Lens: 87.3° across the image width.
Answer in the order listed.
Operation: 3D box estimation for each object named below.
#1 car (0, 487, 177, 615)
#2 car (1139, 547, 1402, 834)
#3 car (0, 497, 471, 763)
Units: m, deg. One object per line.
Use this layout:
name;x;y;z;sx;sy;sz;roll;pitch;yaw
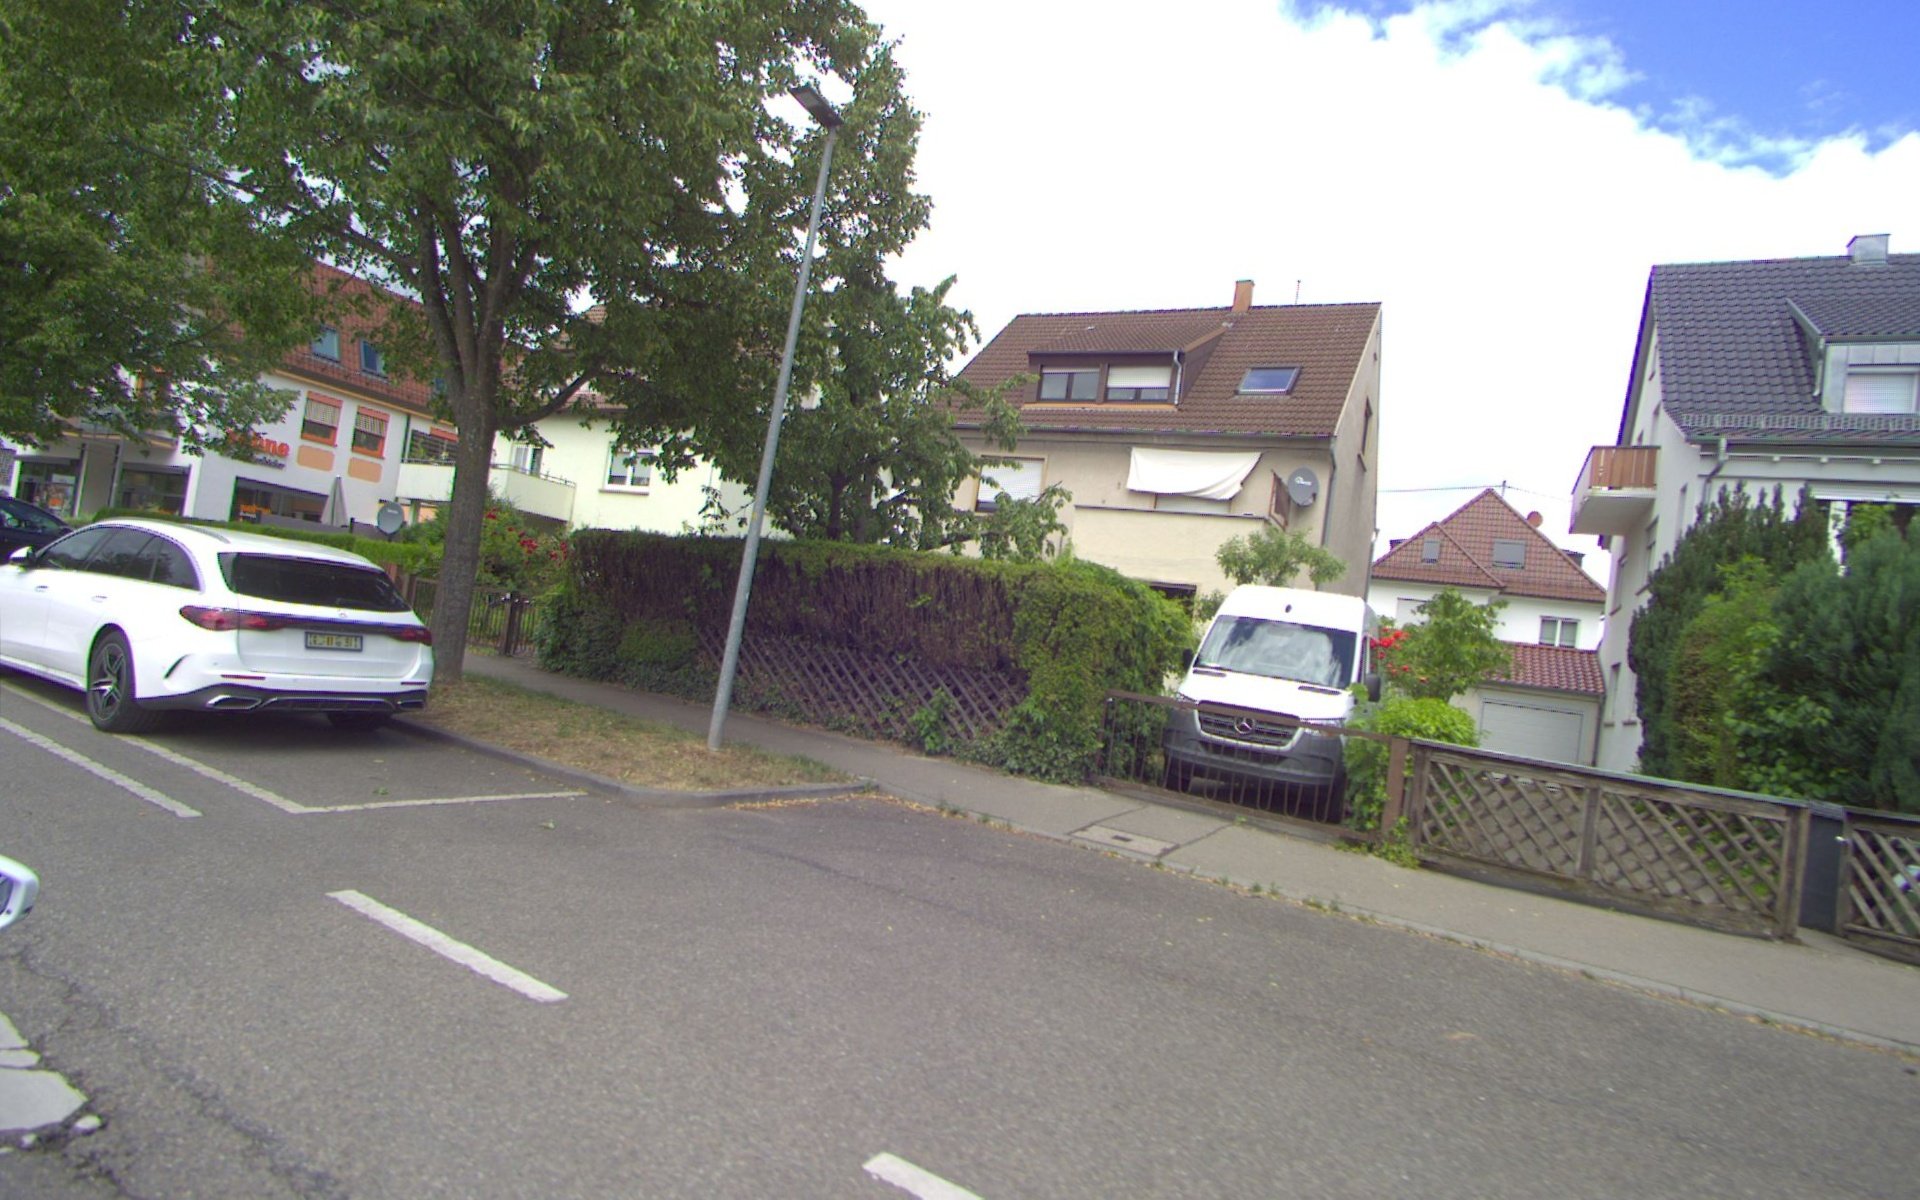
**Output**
car;-14.245;-0.842;14.526;1.663;1.657;4.229;7;-1;26
car;4.228;1.138;12.806;1.963;2.621;5.731;8;-2;27
car;-6.388;0.125;8.258;4.730;1.492;1.810;7;-2;30
